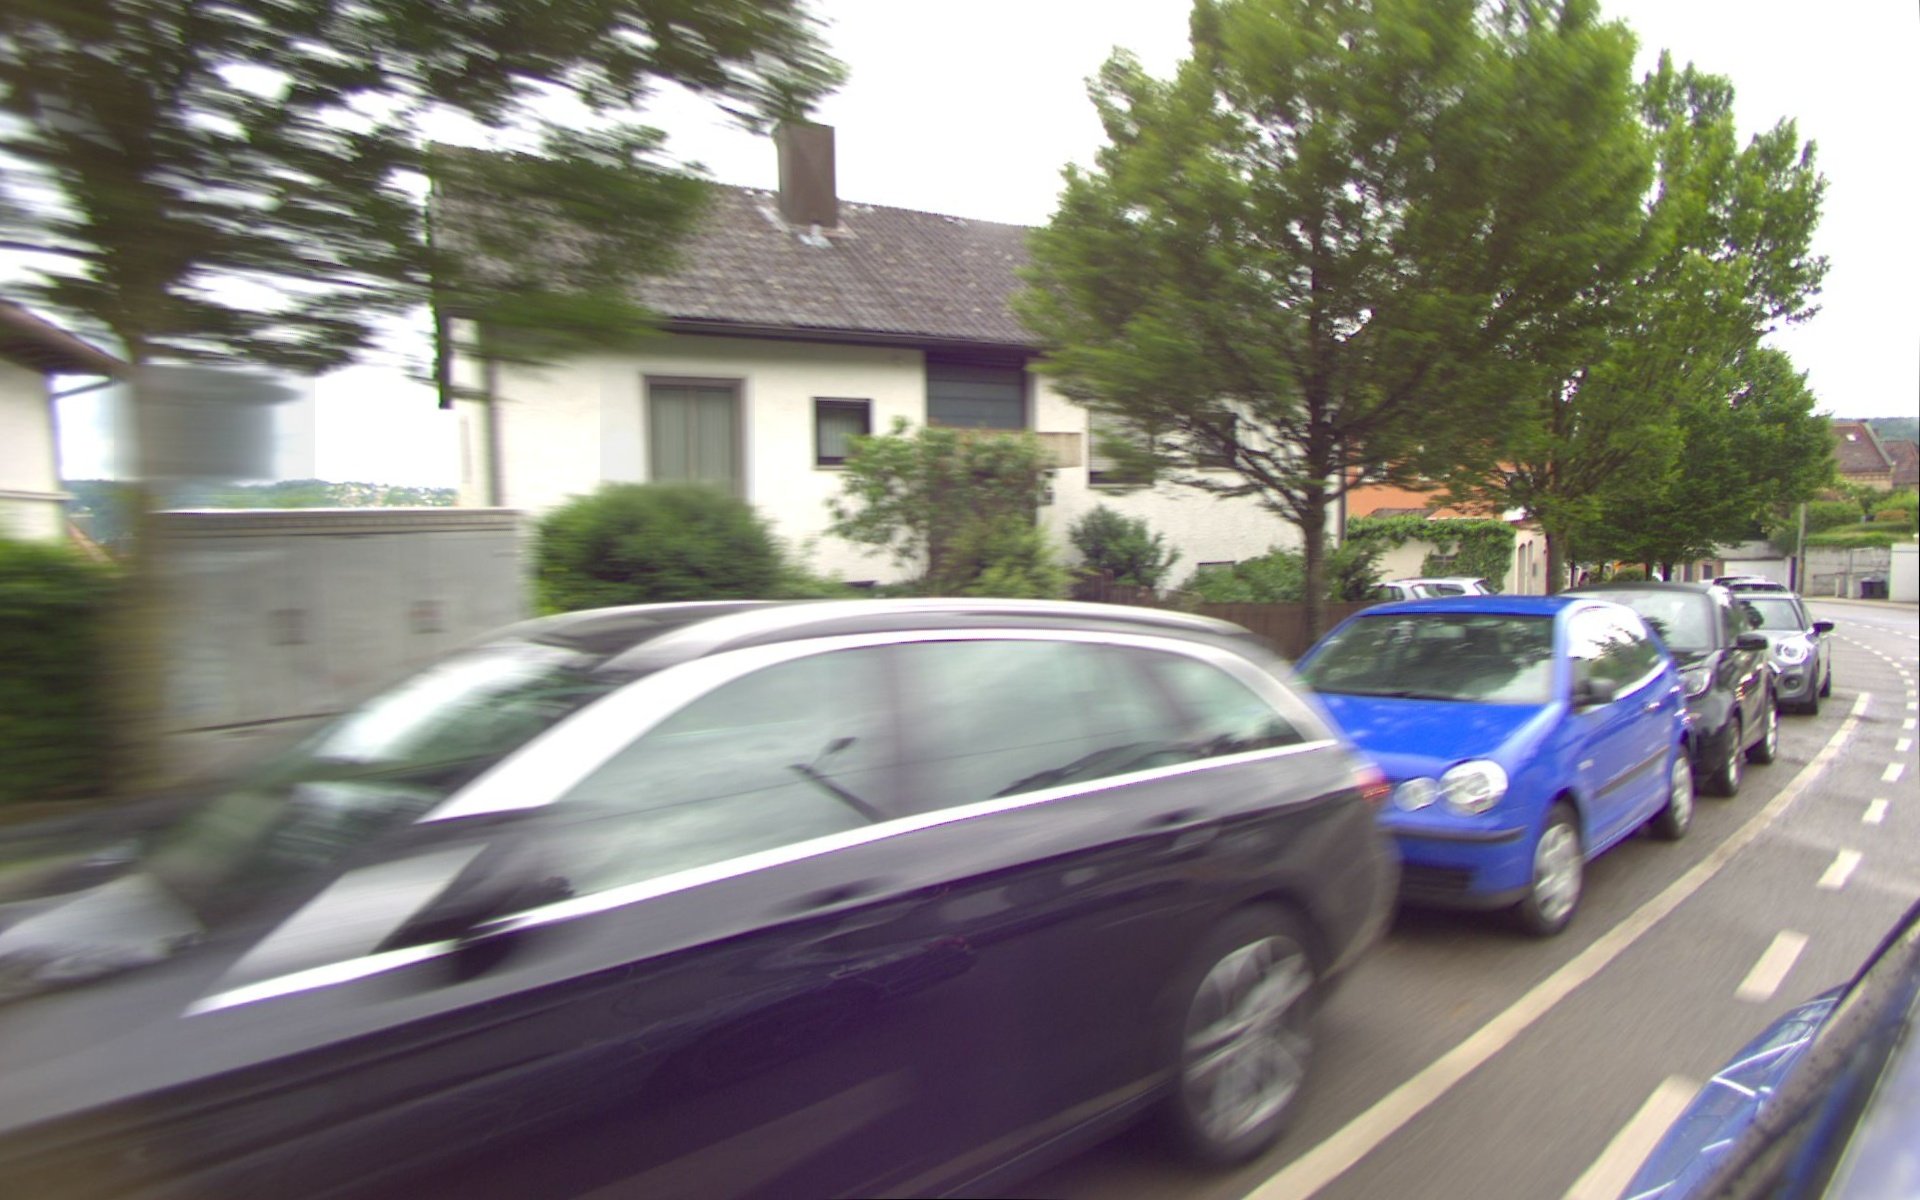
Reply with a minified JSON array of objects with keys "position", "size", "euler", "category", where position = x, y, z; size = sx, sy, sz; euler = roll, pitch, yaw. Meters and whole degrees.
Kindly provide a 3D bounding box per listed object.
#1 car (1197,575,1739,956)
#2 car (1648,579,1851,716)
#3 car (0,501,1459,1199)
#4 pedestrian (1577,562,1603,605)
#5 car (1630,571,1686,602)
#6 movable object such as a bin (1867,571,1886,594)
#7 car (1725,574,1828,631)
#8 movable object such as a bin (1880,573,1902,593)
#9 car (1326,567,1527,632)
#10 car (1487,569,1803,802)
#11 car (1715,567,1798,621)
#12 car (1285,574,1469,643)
[{"position":[3.237,0.638,6.052],"size":[3.933,1.538,1.655],"euler":[-1,0,-43],"category":"car"},{"position":[10.286,0.506,13.096],"size":[1.668,1.489,3.651],"euler":[-1,0,44],"category":"car"},{"position":[-0.732,0.671,2.498],"size":[4.644,1.572,1.779],"euler":[-1,0,-40],"category":"car"},{"position":[25.939,-0.678,41.671],"size":[0.756,1.741,0.893],"euler":[3,2,29],"category":"pedestrian"},{"position":[36.591,-0.724,53.139],"size":[1.644,1.508,3.968],"euler":[-1,1,24],"category":"car"},{"position":[47.735,-0.919,52.692],"size":[0.589,1.160,0.529],"euler":[-3,1,-25],"category":"movable object such as a bin"},{"position":[23.906,0.023,29.797],"size":[1.854,1.487,4.995],"euler":[-2,0,34],"category":"car"},{"position":[47.978,-0.863,52.152],"size":[0.589,1.004,0.610],"euler":[-2,0,-25],"category":"movable object such as a bin"},{"position":[12.030,0.015,26.281],"size":[1.904,1.483,4.304],"euler":[-5,2,-45],"category":"car"},{"position":[5.818,0.548,8.488],"size":[2.973,1.582,1.628],"euler":[-1,1,-44],"category":"car"},{"position":[27.088,-0.257,34.566],"size":[2.048,1.676,5.168],"euler":[1,2,36],"category":"car"},{"position":[10.010,0.235,24.471],"size":[1.750,1.484,3.682],"euler":[-3,0,-44],"category":"car"}]
